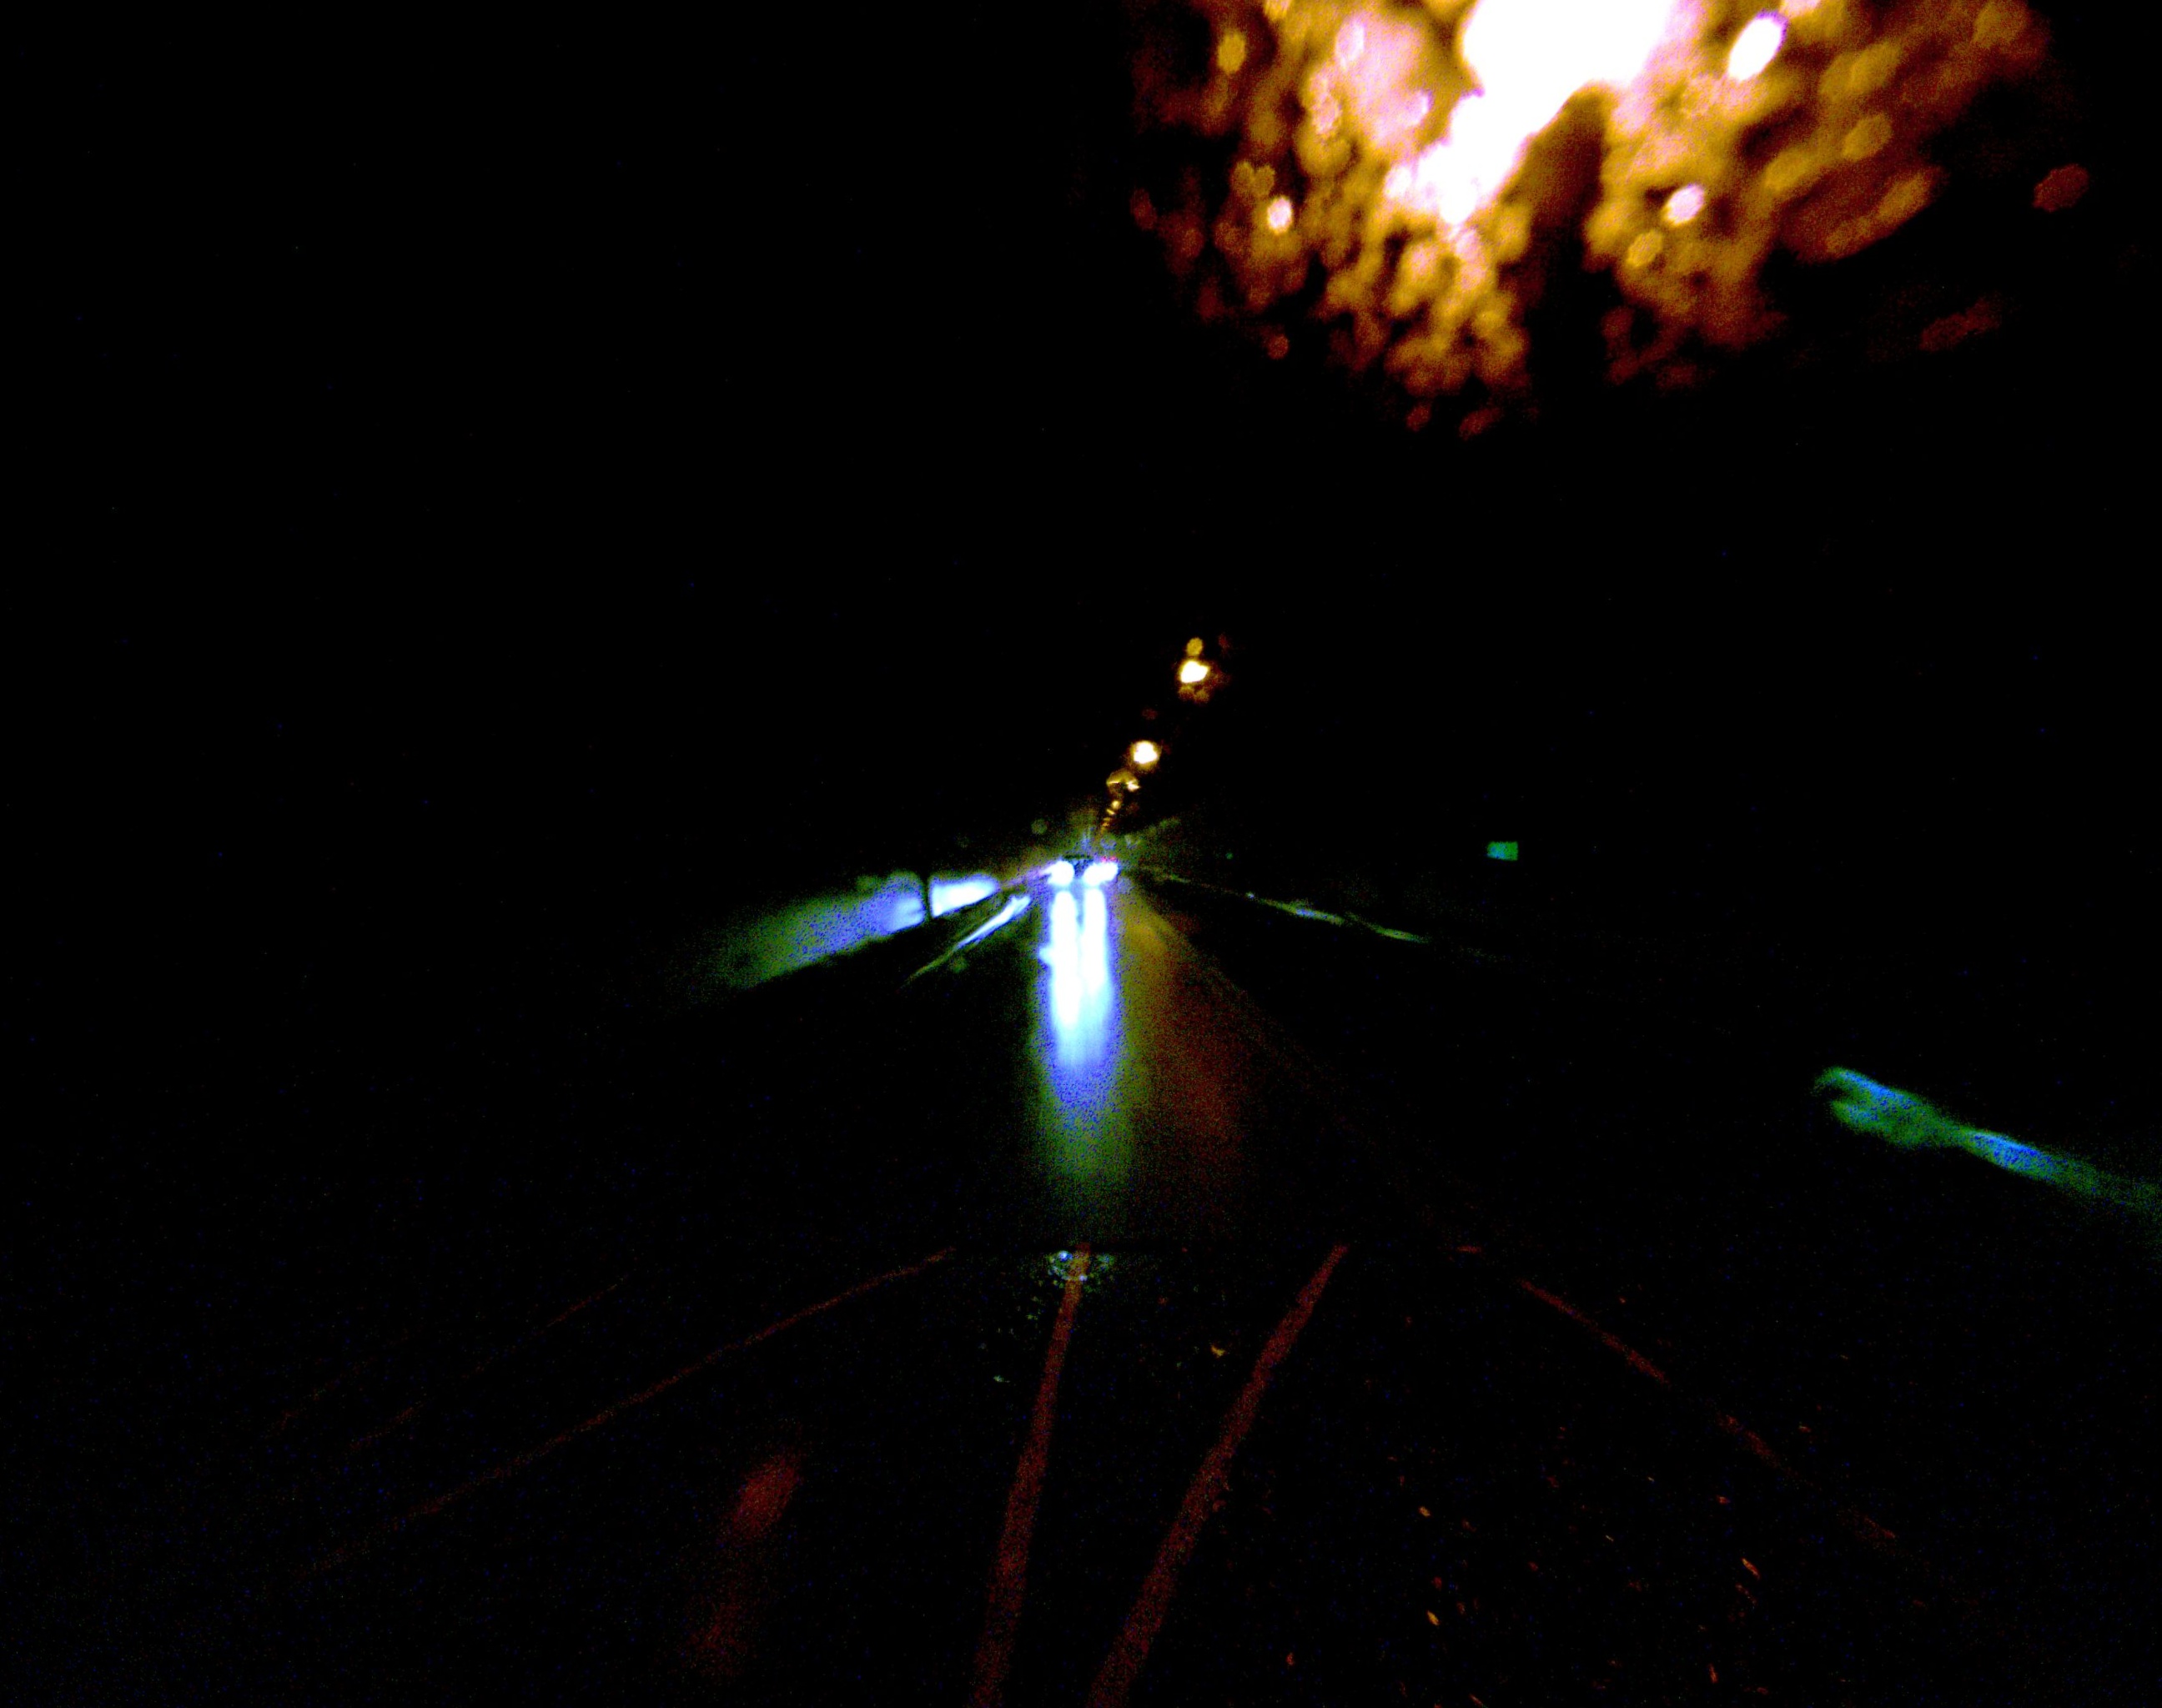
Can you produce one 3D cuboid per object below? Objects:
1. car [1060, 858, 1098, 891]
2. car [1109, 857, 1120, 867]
[{"bbox_3d":[-0.055,0.956,35.799,1.627,1.487,3.586,0,-1,2],"label":"car"},{"bbox_3d":[5.174,1.279,117.992,1.639,1.593,4.147,0,-1,2],"label":"car"}]
